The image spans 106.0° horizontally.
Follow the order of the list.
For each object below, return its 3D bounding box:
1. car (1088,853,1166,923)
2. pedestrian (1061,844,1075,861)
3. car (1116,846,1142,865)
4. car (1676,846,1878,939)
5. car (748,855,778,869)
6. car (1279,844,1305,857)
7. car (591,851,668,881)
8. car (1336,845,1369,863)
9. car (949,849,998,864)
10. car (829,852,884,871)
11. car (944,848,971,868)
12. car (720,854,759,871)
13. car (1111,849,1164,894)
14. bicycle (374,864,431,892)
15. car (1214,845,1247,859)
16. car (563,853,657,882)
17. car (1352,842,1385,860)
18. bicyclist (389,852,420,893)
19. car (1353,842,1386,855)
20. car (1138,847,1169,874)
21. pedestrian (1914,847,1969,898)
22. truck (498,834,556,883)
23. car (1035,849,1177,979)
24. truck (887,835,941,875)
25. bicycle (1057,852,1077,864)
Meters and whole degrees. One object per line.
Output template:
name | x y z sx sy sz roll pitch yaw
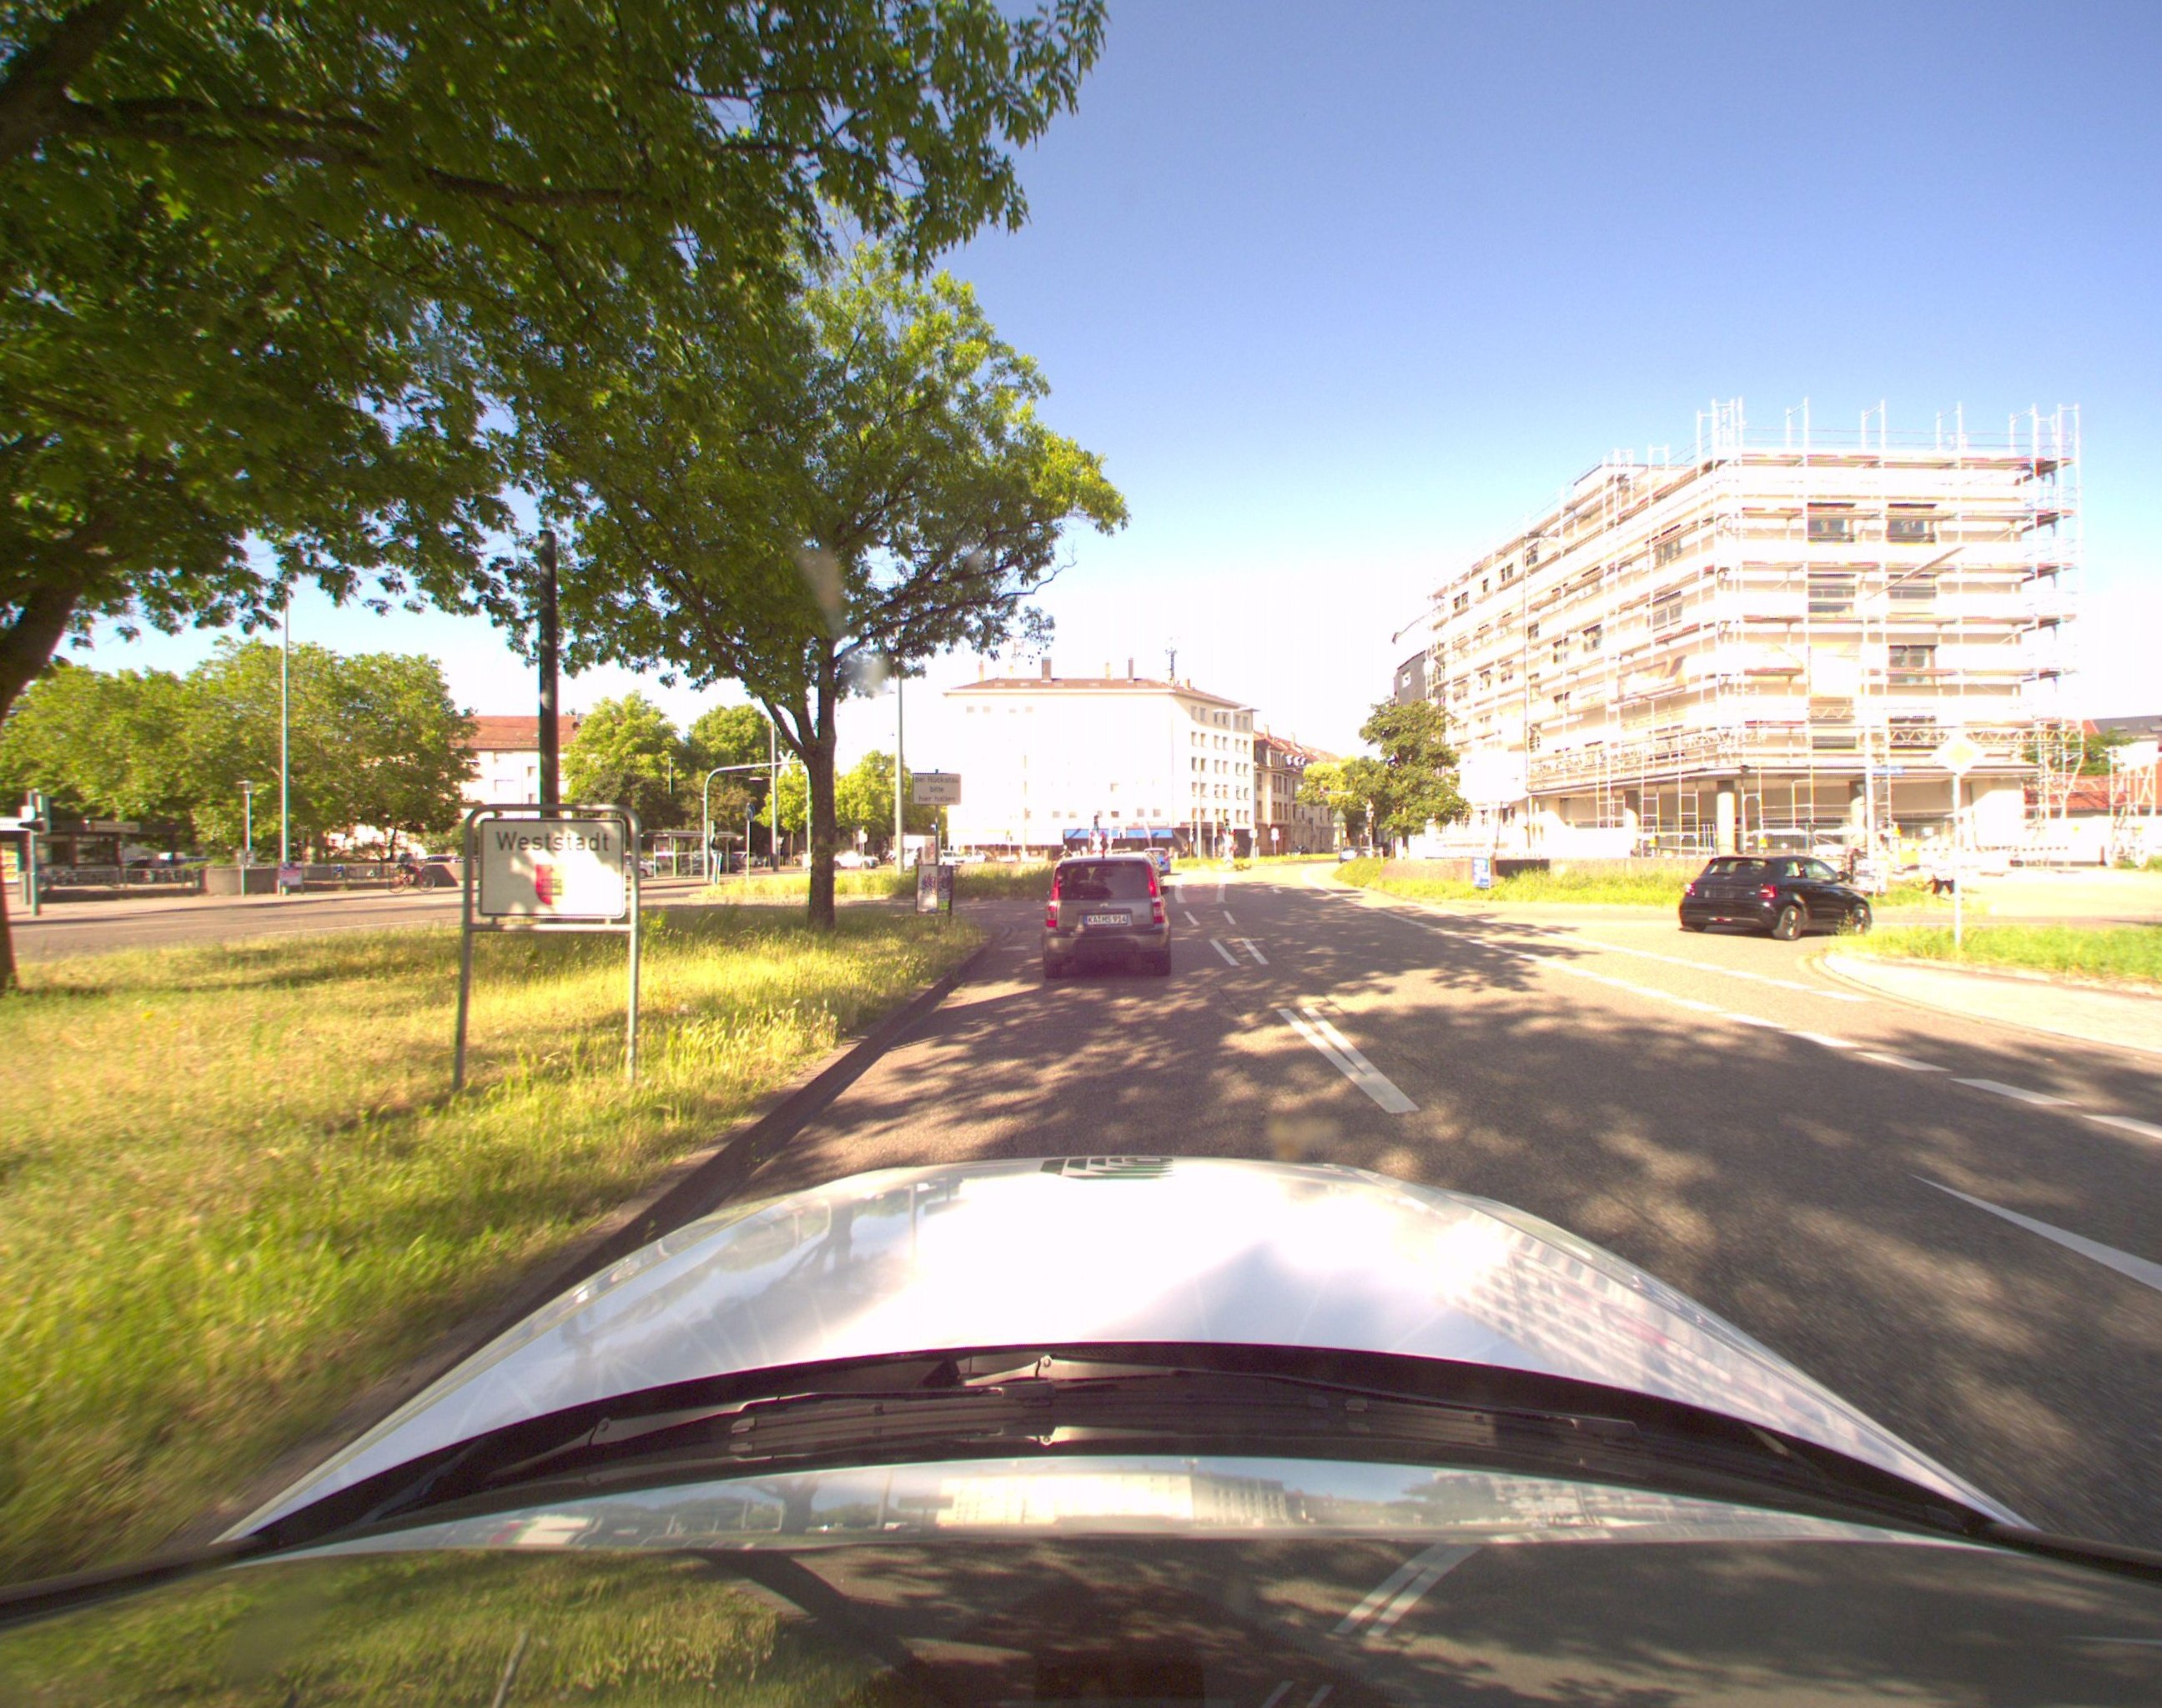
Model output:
car | 0.979 0.708 18.898 1.615 1.429 3.688 -1 0 1
pedestrian | -1.143 -0.134 69.394 0.780 1.427 0.927 1 -1 -40
car | 3.349 0.129 56.431 1.683 1.253 3.630 0 0 5
car | 12.855 0.625 15.017 3.571 1.503 1.664 -1 0 -28
car | -32.885 0.843 84.357 1.588 1.293 3.703 -1 1 1
car | 25.399 -0.418 97.853 1.773 1.565 3.790 0 0 36
car | -29.085 0.709 52.524 1.742 1.717 4.025 3 2 28
car | 22.844 -0.061 68.458 1.758 1.442 3.642 0 1 33
car | -9.543 0.214 72.297 3.948 1.243 2.013 0 0 36
car | -18.880 0.615 68.690 3.968 1.572 2.003 0 0 5
car | -9.428 0.256 62.289 1.660 1.448 4.396 -1 0 -4
car | -33.053 0.798 78.839 1.752 1.617 4.231 0 1 4
car | 2.144 0.594 29.865 1.751 1.486 4.301 -1 0 6
bicycle | -26.211 0.909 31.497 0.608 1.001 1.663 0 2 10
car | 15.092 -0.196 82.056 1.773 1.395 3.749 0 0 36
car | -28.444 0.771 49.307 1.849 1.544 4.576 3 3 44
car | 25.630 -0.239 72.576 1.802 1.508 4.026 -1 1 34
bicyclist | -26.205 0.710 31.565 0.608 1.530 0.678 0 1 9
car | 35.067 -0.653 99.054 1.906 1.594 3.983 -1 0 -12
car | 4.008 0.348 44.933 1.638 1.438 3.401 -1 0 5
pedestrian | 25.525 0.538 24.168 0.649 1.497 0.907 0 0 -8
truck | -35.300 0.230 51.841 4.768 2.994 2.012 0 1 43
car | 0.365 0.695 11.208 1.653 1.510 3.253 -1 0 2
truck | -10.471 0.063 51.371 1.775 2.426 4.125 0 0 13
bicycle | -1.190 0.333 69.439 0.789 0.951 1.834 1 -1 -40
